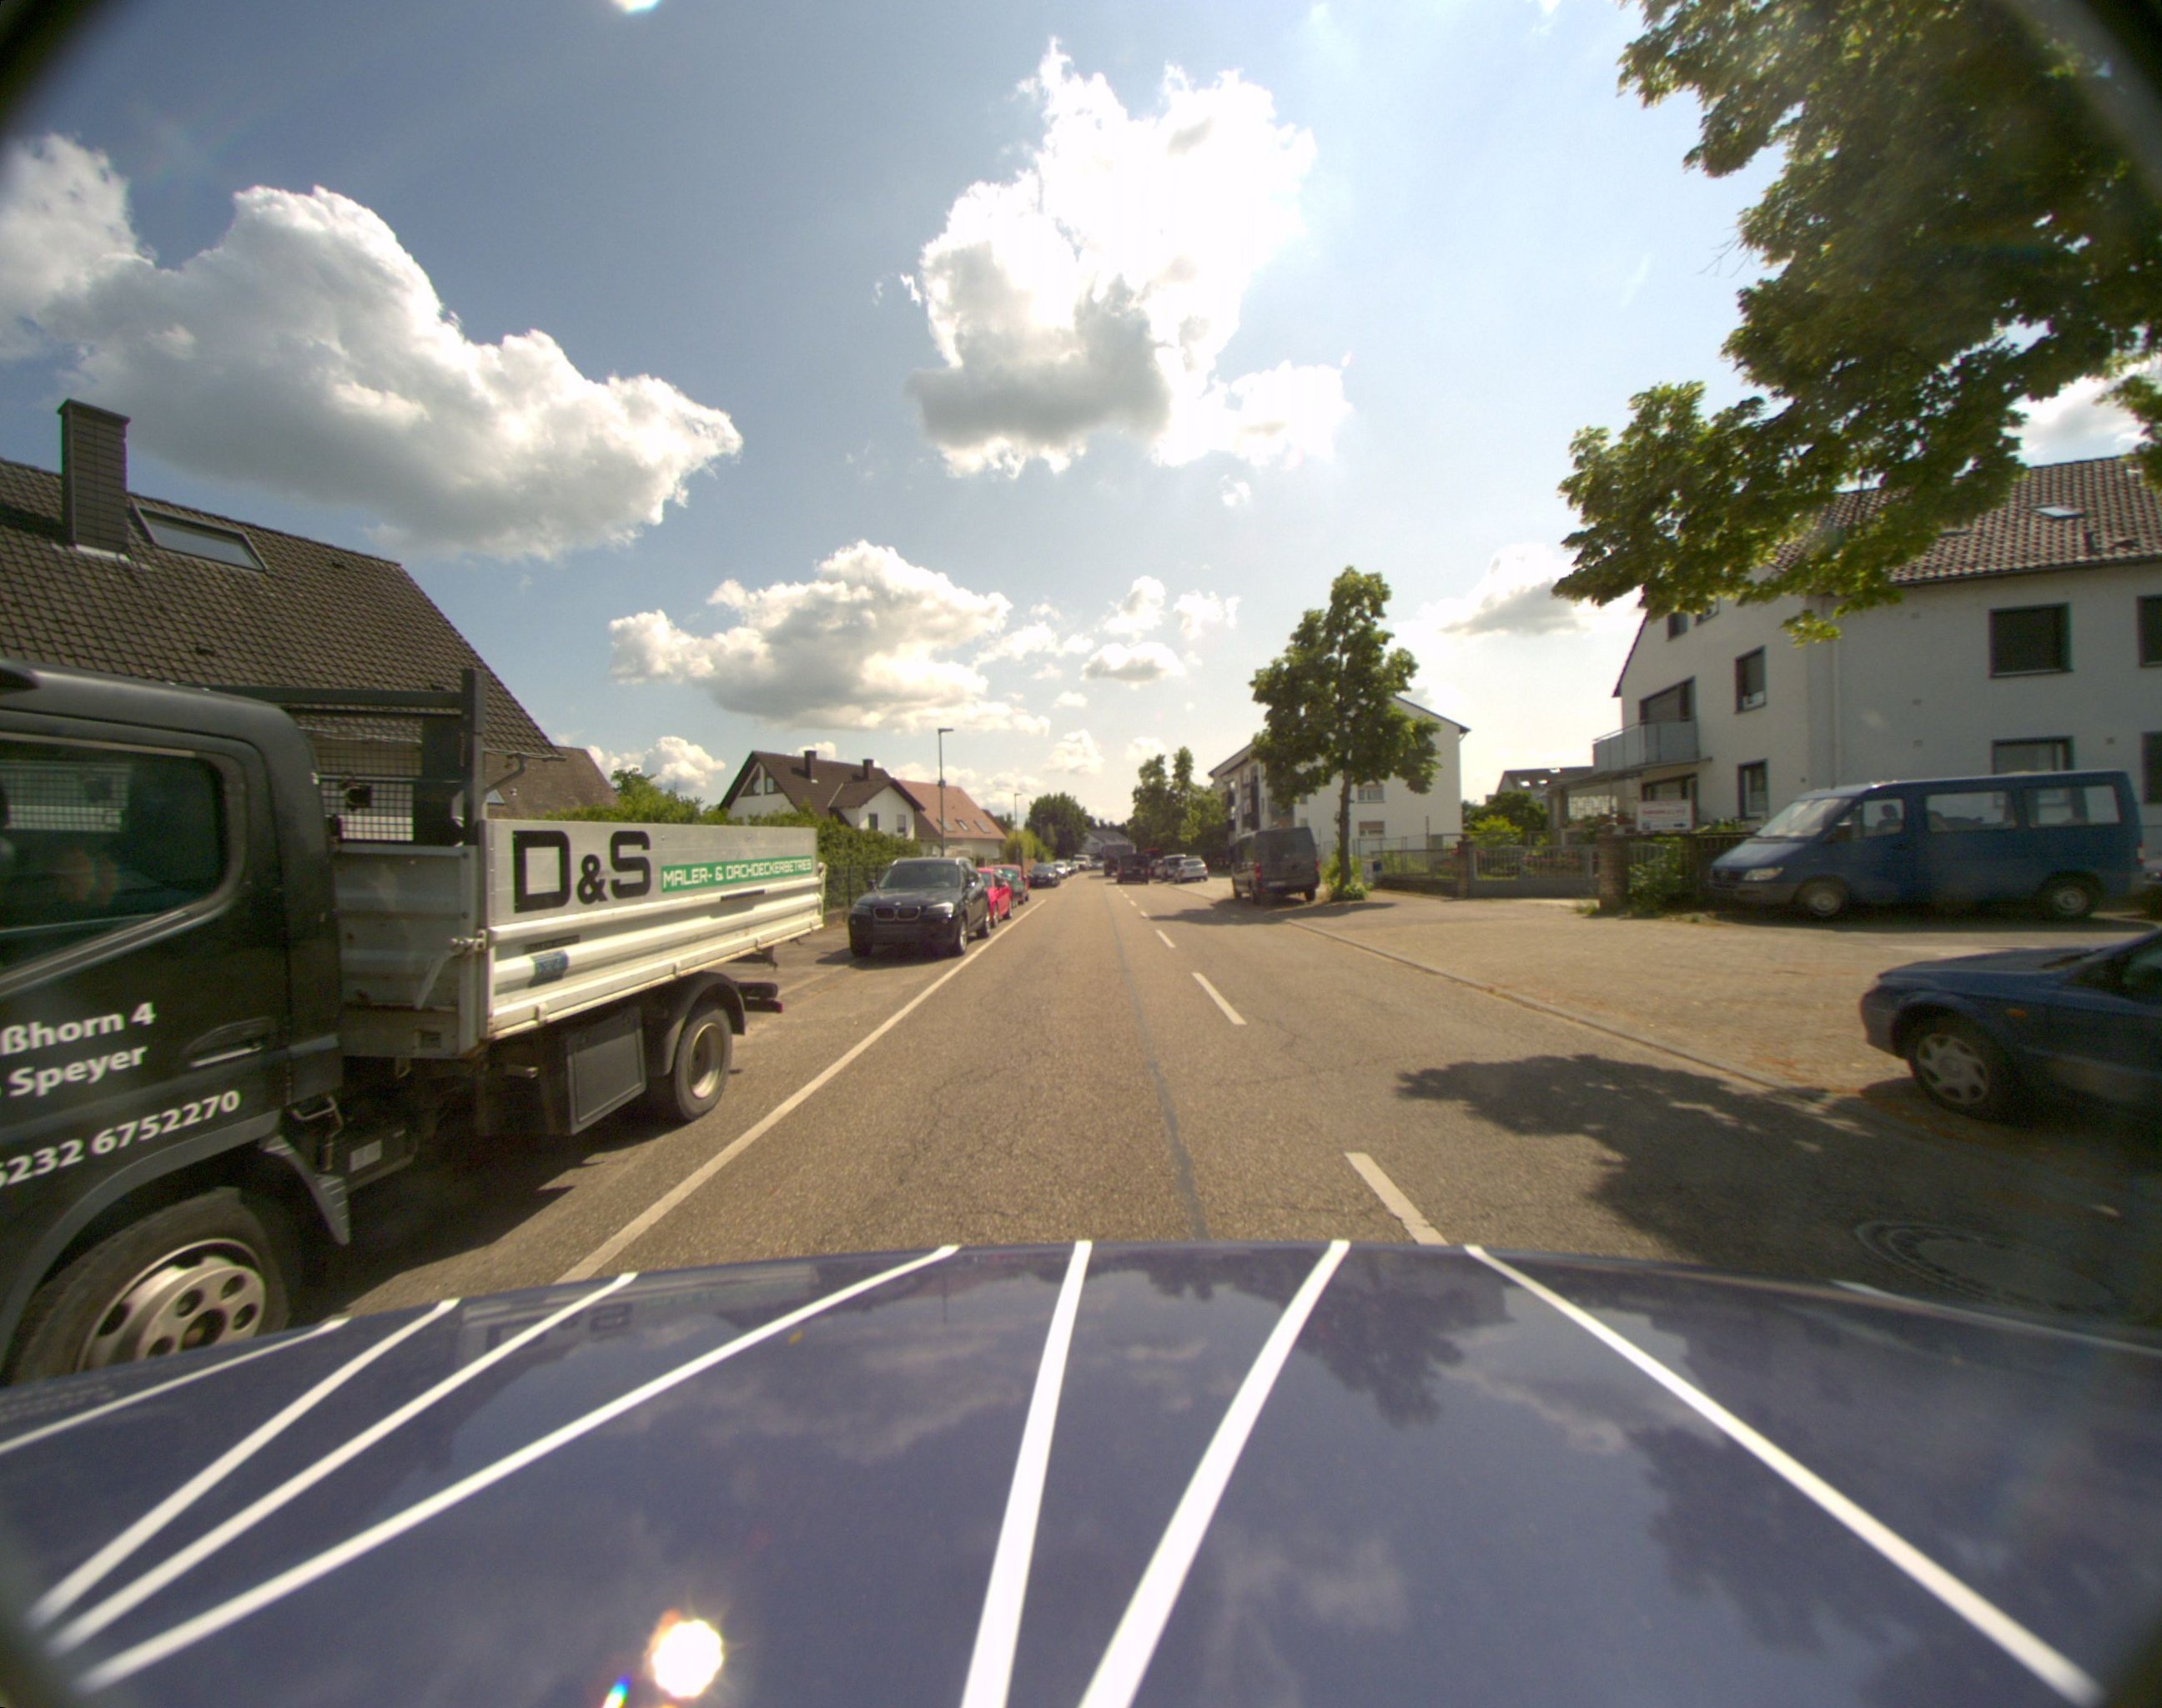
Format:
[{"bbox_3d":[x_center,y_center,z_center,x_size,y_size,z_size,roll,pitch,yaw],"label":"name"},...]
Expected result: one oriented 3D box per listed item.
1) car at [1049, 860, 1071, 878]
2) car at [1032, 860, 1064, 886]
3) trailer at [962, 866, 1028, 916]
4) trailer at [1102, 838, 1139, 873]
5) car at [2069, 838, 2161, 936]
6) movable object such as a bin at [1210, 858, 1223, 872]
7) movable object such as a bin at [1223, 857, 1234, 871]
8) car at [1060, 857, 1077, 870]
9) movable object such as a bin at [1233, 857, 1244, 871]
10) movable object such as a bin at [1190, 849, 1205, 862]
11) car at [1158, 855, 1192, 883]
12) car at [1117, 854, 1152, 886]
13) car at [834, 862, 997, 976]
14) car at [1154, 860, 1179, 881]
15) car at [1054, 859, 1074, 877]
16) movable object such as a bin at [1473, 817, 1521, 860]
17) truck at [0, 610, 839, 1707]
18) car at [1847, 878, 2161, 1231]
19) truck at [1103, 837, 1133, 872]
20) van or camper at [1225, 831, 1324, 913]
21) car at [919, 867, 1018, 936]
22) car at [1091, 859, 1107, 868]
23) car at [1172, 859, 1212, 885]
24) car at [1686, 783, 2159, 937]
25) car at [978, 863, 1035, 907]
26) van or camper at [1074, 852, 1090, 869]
[{"bbox_3d":[-1.881,1.356,69.236,1.749,1.543,4.292,-2,0,1],"label":"car"},{"bbox_3d":[-2.009,1.146,47.221,1.748,1.541,4.121,-1,0,0],"label":"car"},{"bbox_3d":[-2.706,1.142,24.801,1.612,1.370,4.432,-2,0,0],"label":"trailer"},{"bbox_3d":[3.683,0.137,73.235,2.842,3.051,8.888,-1,0,-1],"label":"trailer"},{"bbox_3d":[17.905,0.438,11.080,3.858,1.397,2.002,-2,1,14],"label":"car"},{"bbox_3d":[11.890,0.975,66.542,0.956,1.142,0.825,-2,-2,1],"label":"movable object such as a bin"},{"bbox_3d":[12.947,0.894,66.568,0.752,1.206,0.806,-2,-2,1],"label":"movable object such as a bin"},{"bbox_3d":[-1.445,1.082,90.592,1.731,1.496,4.296,0,0,2],"label":"car"},{"bbox_3d":[13.772,0.873,66.552,0.752,1.206,0.806,-2,-2,1],"label":"movable object such as a bin"},{"bbox_3d":[12.994,0.181,84.986,1.299,1.377,1.291,-3,-1,-5],"label":"movable object such as a bin"},{"bbox_3d":[6.783,1.053,54.998,1.814,1.795,4.491,-5,0,1],"label":"car"},{"bbox_3d":[3.561,1.025,51.170,2.056,2.022,5.142,0,0,1],"label":"car"},{"bbox_3d":[-2.803,1.020,13.974,1.834,1.652,4.554,-2,0,2],"label":"car"},{"bbox_3d":[6.869,1.291,61.088,1.626,1.460,3.926,-4,0,2],"label":"car"},{"bbox_3d":[-1.732,1.462,80.337,1.896,1.763,4.709,-1,0,0],"label":"car"},{"bbox_3d":[16.074,-0.567,29.423,1.311,1.422,1.606,-2,-6,18],"label":"movable object such as a bin"},{"bbox_3d":[-3.441,0.617,3.581,2.528,2.286,5.895,1,0,2],"label":"truck"},{"bbox_3d":[5.587,0.912,2.723,1.703,1.475,4.160,-2,0,5],"label":"car"},{"bbox_3d":[3.754,0.055,78.453,2.780,3.478,5.881,-1,0,0],"label":"truck"},{"bbox_3d":[6.361,0.539,25.734,1.998,2.303,5.935,-5,0,4],"label":"van or camper"},{"bbox_3d":[-2.717,1.105,19.237,1.688,1.427,4.146,-2,0,2],"label":"car"},{"bbox_3d":[3.051,1.554,126.240,1.817,1.513,4.269,-1,-1,13],"label":"car"},{"bbox_3d":[7.158,1.177,49.411,1.753,1.452,4.709,-5,-1,-1],"label":"car"},{"bbox_3d":[13.539,0.133,12.656,5.008,2.219,2.002,-2,1,14],"label":"car"},{"bbox_3d":[-2.790,1.136,29.406,1.696,1.454,4.755,-2,0,0],"label":"car"},{"bbox_3d":[0.176,0.957,111.760,1.972,2.345,5.761,-1,-1,5],"label":"van or camper"}]
